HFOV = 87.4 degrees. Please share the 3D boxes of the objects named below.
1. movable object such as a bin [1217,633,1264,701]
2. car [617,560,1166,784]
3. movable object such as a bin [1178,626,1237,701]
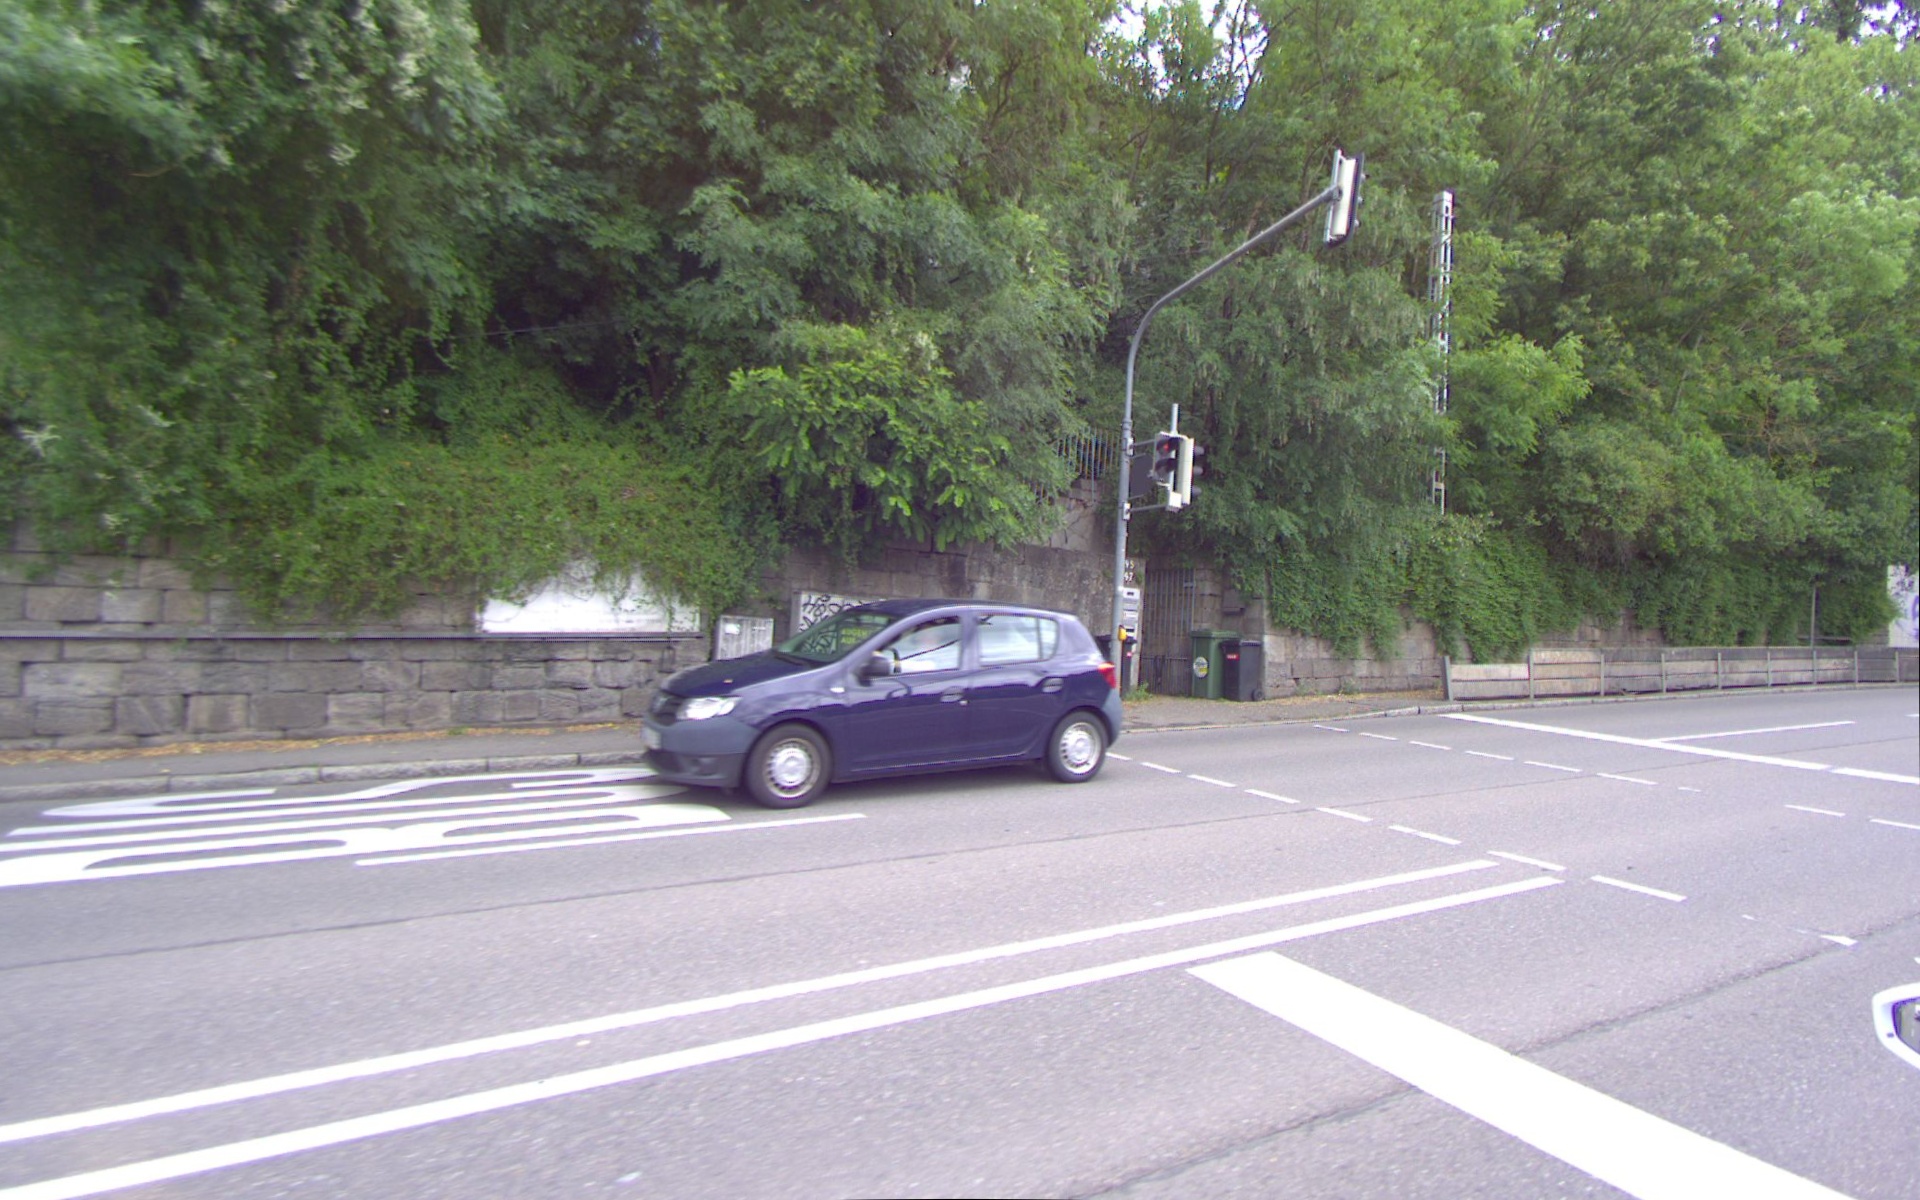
[{"bbox_3d":[4.170,0.997,14.959,0.473,0.963,0.425,2,1,-31],"label":"movable object such as a bin"},{"bbox_3d":[-0.487,0.514,8.417,4.201,1.453,1.803,2,1,-32],"label":"car"},{"bbox_3d":[3.791,0.969,15.408,0.550,1.081,0.638,2,1,-31],"label":"movable object such as a bin"}]
